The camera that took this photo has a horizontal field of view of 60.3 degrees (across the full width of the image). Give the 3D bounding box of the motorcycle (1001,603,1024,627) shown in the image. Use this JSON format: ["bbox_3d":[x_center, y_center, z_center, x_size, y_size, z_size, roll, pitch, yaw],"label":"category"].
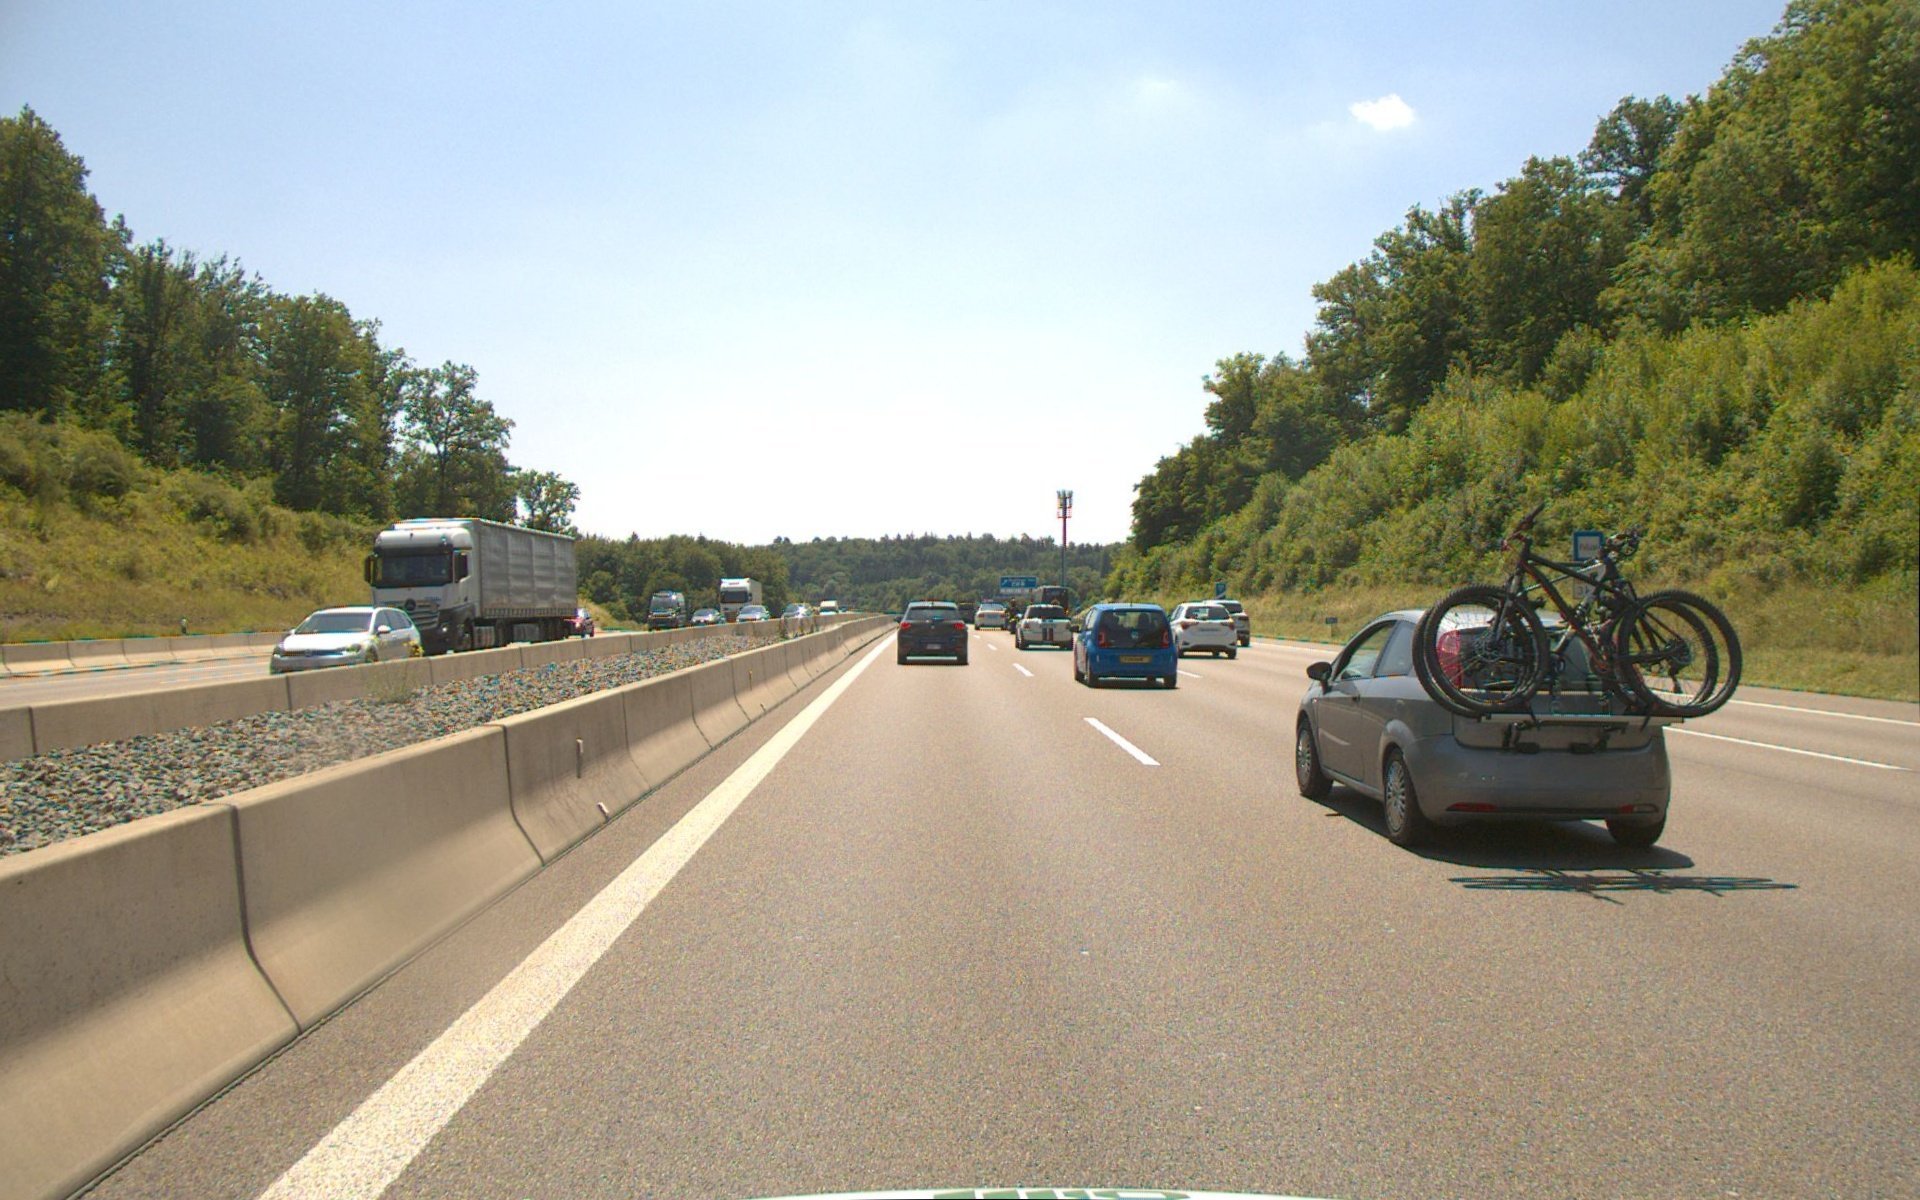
[{"bbox_3d":[2.514,0.716,79.876,0.957,1.149,2.270,-1,0,-2],"label":"motorcycle"}]

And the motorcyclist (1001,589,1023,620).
[{"bbox_3d":[2.496,0.202,79.903,0.943,1.463,1.234,-2,-1,-2],"label":"motorcyclist"}]

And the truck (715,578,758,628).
[{"bbox_3d":[-19.130,0.225,141.845,2.836,4.140,7.786,-1,0,-2],"label":"truck"}]

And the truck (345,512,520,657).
[{"bbox_3d":[-15.764,-0.435,50.004,3.199,4.052,6.795,-1,0,-1],"label":"truck"}]

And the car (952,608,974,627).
[{"bbox_3d":[0.293,1.749,165.139,2.055,1.884,4.079,-1,0,-2],"label":"car"}]

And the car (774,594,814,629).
[{"bbox_3d":[-9.066,0.617,90.500,1.833,1.808,4.467,-1,0,-1],"label":"car"}]

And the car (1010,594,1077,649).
[{"bbox_3d":[2.623,0.658,52.636,1.804,1.579,3.999,3,0,-1],"label":"car"}]

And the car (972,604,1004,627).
[{"bbox_3d":[1.569,0.878,94.385,1.746,1.287,3.459,-1,0,-1],"label":"car"}]

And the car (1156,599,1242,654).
[{"bbox_3d":[6.668,0.708,46.482,1.633,1.458,4.374,-1,0,-2],"label":"car"}]

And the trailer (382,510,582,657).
[{"bbox_3d":[-15.918,-0.500,56.578,3.038,4.328,13.836,-2,0,-1],"label":"trailer"}]

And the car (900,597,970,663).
[{"bbox_3d":[-0.602,0.684,39.885,1.591,1.513,3.684,0,0,-1],"label":"car"}]

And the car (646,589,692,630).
[{"bbox_3d":[-20.312,0.681,115.739,2.097,2.710,6.777,-2,0,-1],"label":"car"}]

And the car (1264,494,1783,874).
[{"bbox_3d":[3.555,0.452,11.527,1.921,2.089,4.783,0,0,-1],"label":"car"}]

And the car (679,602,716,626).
[{"bbox_3d":[-16.376,0.880,103.310,1.633,1.432,4.438,-1,0,-1],"label":"car"}]

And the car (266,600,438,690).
[{"bbox_3d":[-11.740,0.810,32.299,1.645,1.575,5.058,-1,0,-2],"label":"car"}]

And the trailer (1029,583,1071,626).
[{"bbox_3d":[8.496,0.487,158.067,2.800,3.753,13.536,-1,-2,-2],"label":"trailer"}]

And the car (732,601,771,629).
[{"bbox_3d":[-12.750,0.933,101.390,1.988,1.532,5.437,-2,-1,-4],"label":"car"}]

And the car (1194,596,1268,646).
[{"bbox_3d":[10.031,0.770,61.548,1.764,1.761,5.237,1,0,-1],"label":"car"}]

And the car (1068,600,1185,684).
[{"bbox_3d":[3.006,0.759,30.535,1.702,1.436,3.999,0,-1,-1],"label":"car"}]
